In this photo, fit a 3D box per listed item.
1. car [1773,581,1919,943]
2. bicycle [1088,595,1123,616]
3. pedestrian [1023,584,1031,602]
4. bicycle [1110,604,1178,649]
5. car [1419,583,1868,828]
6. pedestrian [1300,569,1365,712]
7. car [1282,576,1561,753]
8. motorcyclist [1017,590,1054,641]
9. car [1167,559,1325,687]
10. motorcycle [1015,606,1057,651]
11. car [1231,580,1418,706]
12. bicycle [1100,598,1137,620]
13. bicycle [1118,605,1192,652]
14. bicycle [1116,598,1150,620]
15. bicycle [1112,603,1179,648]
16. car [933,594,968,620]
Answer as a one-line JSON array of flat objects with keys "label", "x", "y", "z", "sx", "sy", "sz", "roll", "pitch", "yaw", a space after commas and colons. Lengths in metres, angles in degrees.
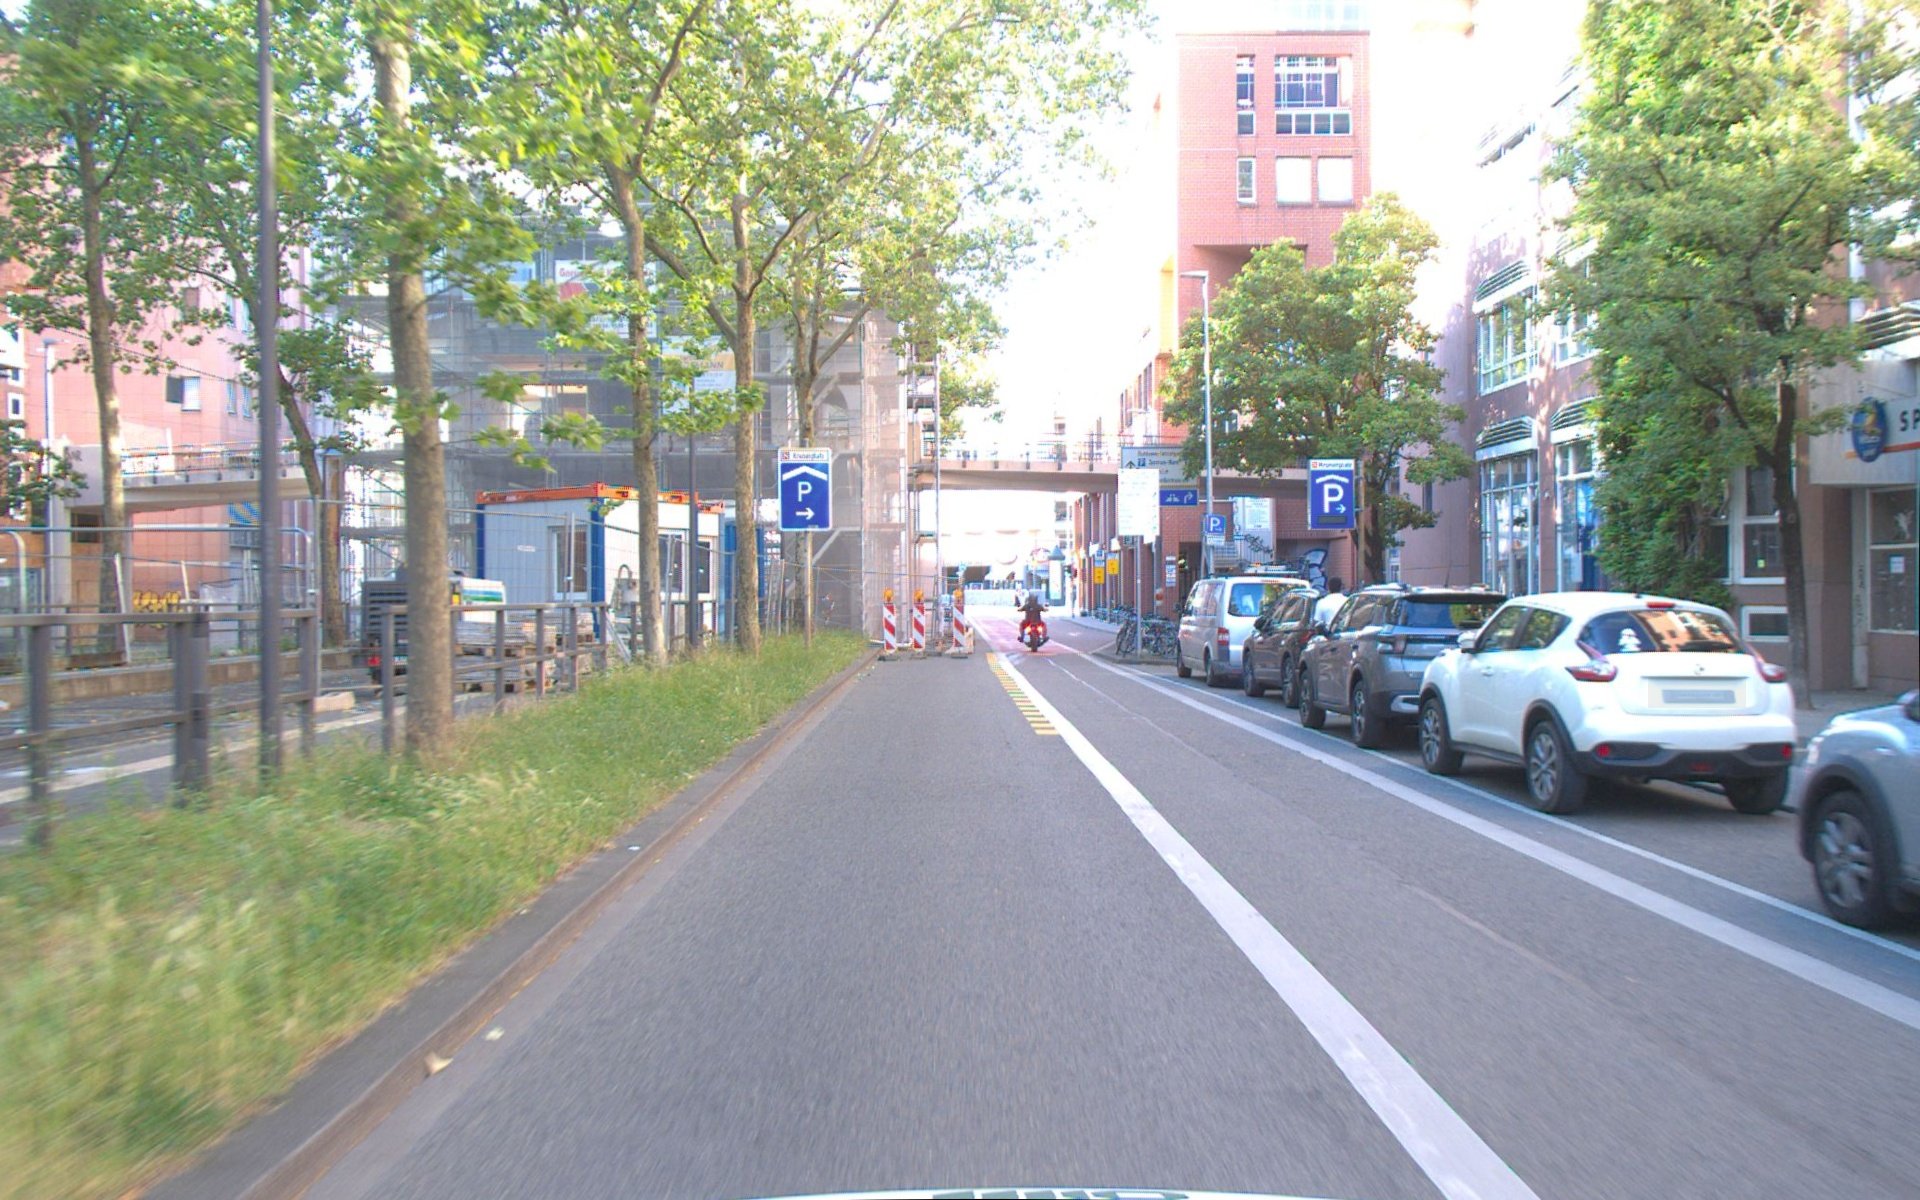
[{"label": "car", "x": 5.179, "y": 0.720, "z": 6.642, "sx": 1.791, "sy": 1.606, "sz": 3.999, "roll": -1, "pitch": 0, "yaw": -1}, {"label": "bicycle", "x": 8.003, "y": 0.307, "z": 90.797, "sx": 1.853, "sy": 1.138, "sz": 0.475, "roll": -1, "pitch": 0, "yaw": -1}, {"label": "pedestrian", "x": 5.939, "y": -0.597, "z": 146.494, "sx": 0.537, "sy": 1.611, "sz": 0.548, "roll": -1, "pitch": 0, "yaw": -44}, {"label": "bicycle", "x": 4.549, "y": 0.639, "z": 40.932, "sx": 1.648, "sy": 1.086, "sz": 0.499, "roll": 0, "pitch": 0, "yaw": 34}, {"label": "car", "x": 5.095, "y": 0.685, "z": 12.974, "sx": 1.791, "sy": 1.606, "sz": 3.999, "roll": -1, "pitch": 0, "yaw": -1}, {"label": "pedestrian", "x": 4.903, "y": 0.516, "z": 21.812, "sx": 0.647, "sy": 1.844, "sz": 0.715, "roll": -1, "pitch": 0, "yaw": -3}, {"label": "car", "x": 4.930, "y": 0.610, "z": 18.324, "sx": 1.751, "sy": 1.699, "sz": 4.439, "roll": -1, "pitch": 0, "yaw": -1}, {"label": "motorcyclist", "x": 2.087, "y": 0.421, "z": 45.780, "sx": 0.951, "sy": 1.370, "sz": 1.137, "roll": 1, "pitch": 0, "yaw": -2}, {"label": "car", "x": 5.113, "y": 0.365, "z": 30.265, "sx": 1.880, "sy": 2.115, "sz": 5.169, "roll": 0, "pitch": 0, "yaw": -1}, {"label": "motorcycle", "x": 2.089, "y": 0.776, "z": 45.891, "sx": 0.953, "sy": 1.151, "sz": 2.804, "roll": 1, "pitch": 0, "yaw": -1}, {"label": "car", "x": 5.307, "y": 0.565, "z": 24.599, "sx": 1.751, "sy": 1.699, "sz": 4.199, "roll": -1, "pitch": 0, "yaw": -1}, {"label": "bicycle", "x": 8.310, "y": 0.474, "z": 86.882, "sx": 1.853, "sy": 1.138, "sz": 0.550, "roll": -1, "pitch": 0, "yaw": -1}, {"label": "bicycle", "x": 4.557, "y": 0.661, "z": 38.694, "sx": 1.643, "sy": 1.086, "sz": 0.511, "roll": 0, "pitch": 0, "yaw": 22}, {"label": "bicycle", "x": 8.342, "y": 0.420, "z": 79.781, "sx": 1.578, "sy": 0.971, "sz": 0.555, "roll": -3, "pitch": 0, "yaw": 1}, {"label": "bicycle", "x": 4.672, "y": 0.633, "z": 41.699, "sx": 1.648, "sy": 1.086, "sz": 0.499, "roll": 0, "pitch": 0, "yaw": 34}, {"label": "car", "x": -0.559, "y": 0.372, "z": 95.517, "sx": 1.885, "sy": 1.413, "sz": 3.999, "roll": -1, "pitch": 1, "yaw": -2}]
